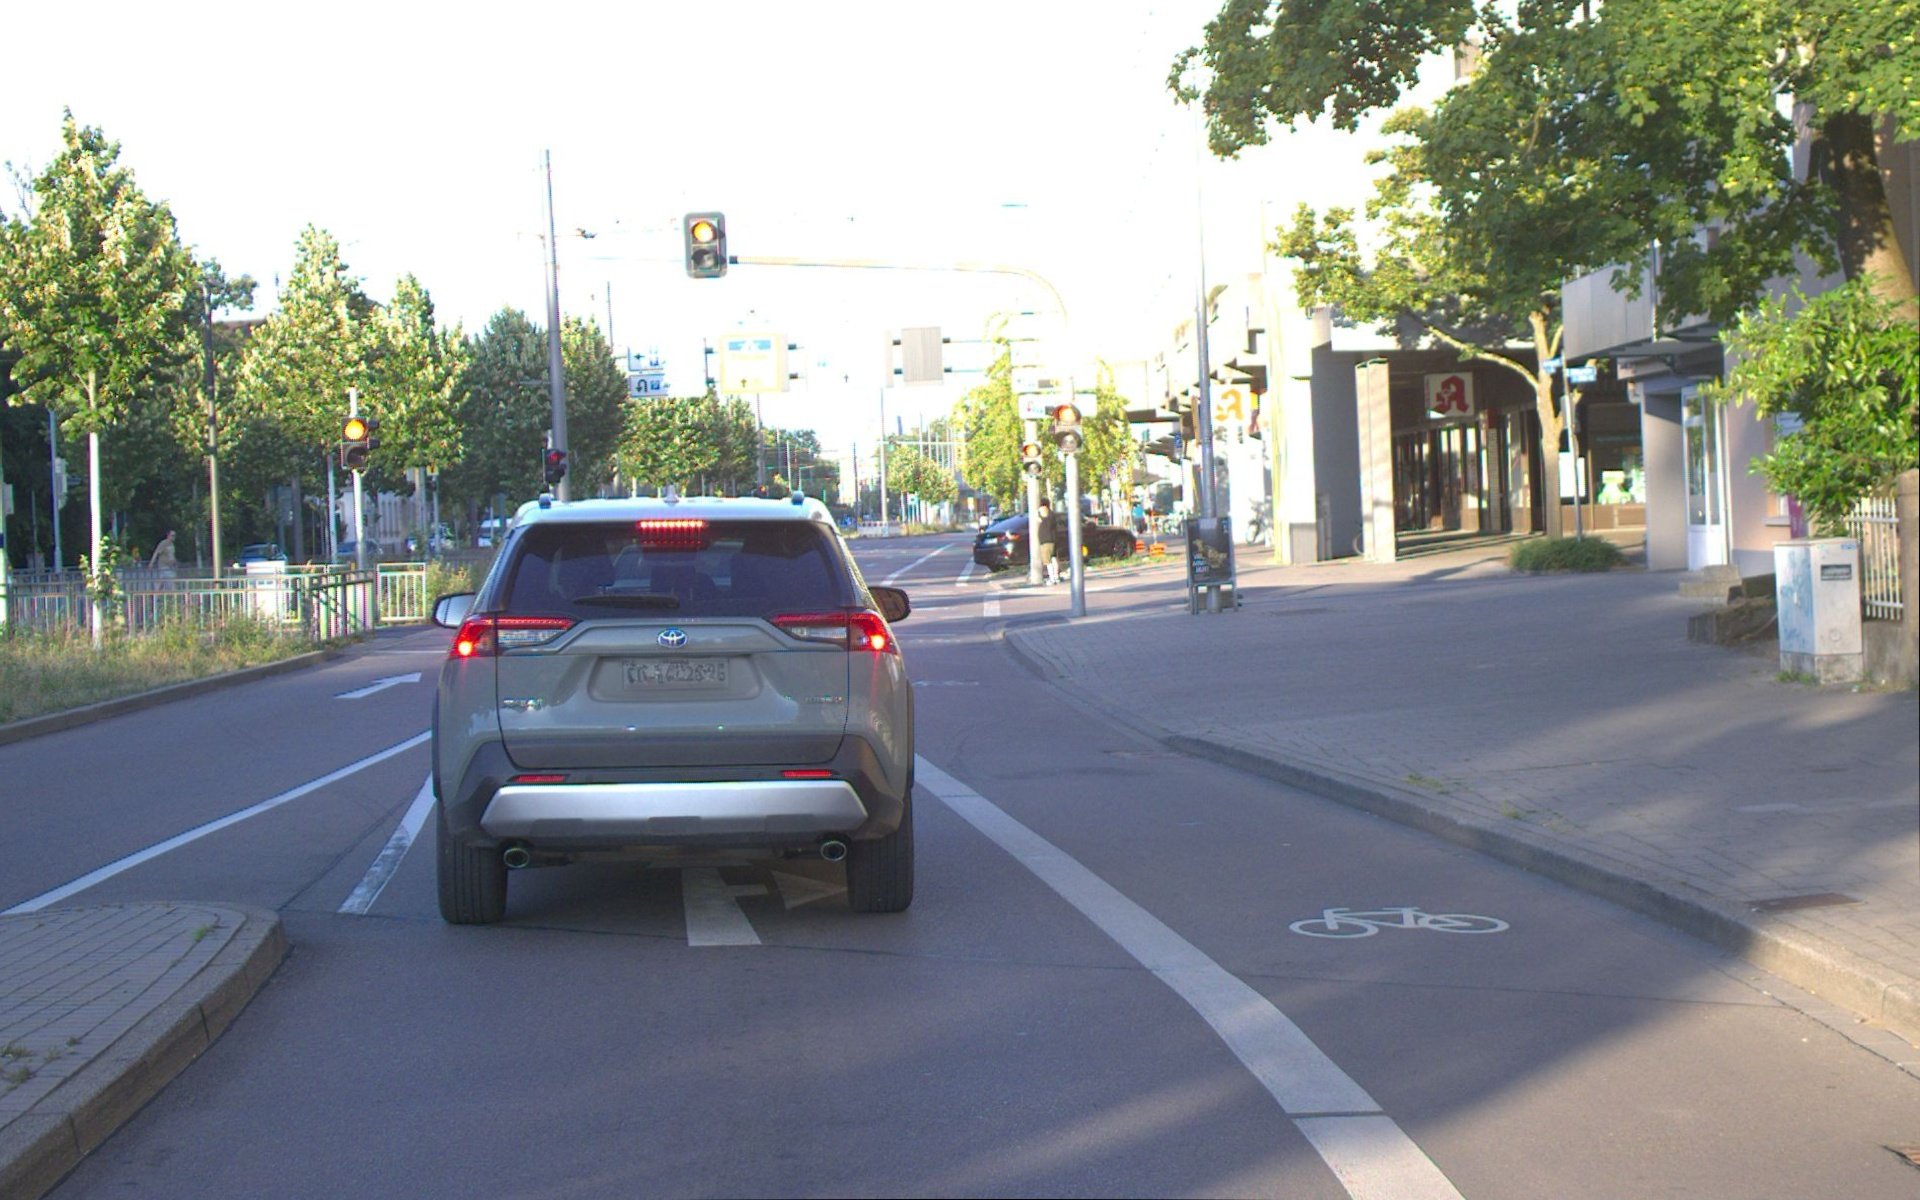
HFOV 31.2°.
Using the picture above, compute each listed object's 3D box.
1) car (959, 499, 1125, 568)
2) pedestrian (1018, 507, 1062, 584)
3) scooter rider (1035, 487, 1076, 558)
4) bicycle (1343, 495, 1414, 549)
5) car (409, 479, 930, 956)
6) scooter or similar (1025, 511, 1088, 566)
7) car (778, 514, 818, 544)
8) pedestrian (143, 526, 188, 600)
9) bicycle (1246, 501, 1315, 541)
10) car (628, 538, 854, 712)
[{"bbox_3d":[2.158,-1.760,89.924,4.257,1.653,1.860,-3,4,-43],"label":"car"},{"bbox_3d":[1.690,-1.160,72.675,0.835,1.581,0.812,-2,1,0],"label":"pedestrian"},{"bbox_3d":[2.081,-1.697,74.919,0.820,1.509,0.653,-2,1,1],"label":"scooter rider"},{"bbox_3d":[9.082,-1.688,74.659,0.688,1.145,2.023,1,1,-20],"label":"bicycle"},{"bbox_3d":[-1.222,0.349,14.591,1.854,1.653,4.270,-1,3,-5],"label":"car"},{"bbox_3d":[2.101,-1.348,74.925,1.329,1.149,0.513,-2,1,1],"label":"scooter or similar"},{"bbox_3d":[-8.450,-3.737,179.892,1.979,1.428,4.844,-1,3,-1],"label":"car"},{"bbox_3d":[-18.666,-0.879,80.769,0.835,1.706,0.648,-2,1,-2],"label":"pedestrian"},{"bbox_3d":[9.531,-2.356,102.298,2.017,1.145,0.690,1,0,5],"label":"bicycle"},{"bbox_3d":[-2.273,0.192,34.573,1.931,1.476,4.524,-1,3,-8],"label":"car"}]
